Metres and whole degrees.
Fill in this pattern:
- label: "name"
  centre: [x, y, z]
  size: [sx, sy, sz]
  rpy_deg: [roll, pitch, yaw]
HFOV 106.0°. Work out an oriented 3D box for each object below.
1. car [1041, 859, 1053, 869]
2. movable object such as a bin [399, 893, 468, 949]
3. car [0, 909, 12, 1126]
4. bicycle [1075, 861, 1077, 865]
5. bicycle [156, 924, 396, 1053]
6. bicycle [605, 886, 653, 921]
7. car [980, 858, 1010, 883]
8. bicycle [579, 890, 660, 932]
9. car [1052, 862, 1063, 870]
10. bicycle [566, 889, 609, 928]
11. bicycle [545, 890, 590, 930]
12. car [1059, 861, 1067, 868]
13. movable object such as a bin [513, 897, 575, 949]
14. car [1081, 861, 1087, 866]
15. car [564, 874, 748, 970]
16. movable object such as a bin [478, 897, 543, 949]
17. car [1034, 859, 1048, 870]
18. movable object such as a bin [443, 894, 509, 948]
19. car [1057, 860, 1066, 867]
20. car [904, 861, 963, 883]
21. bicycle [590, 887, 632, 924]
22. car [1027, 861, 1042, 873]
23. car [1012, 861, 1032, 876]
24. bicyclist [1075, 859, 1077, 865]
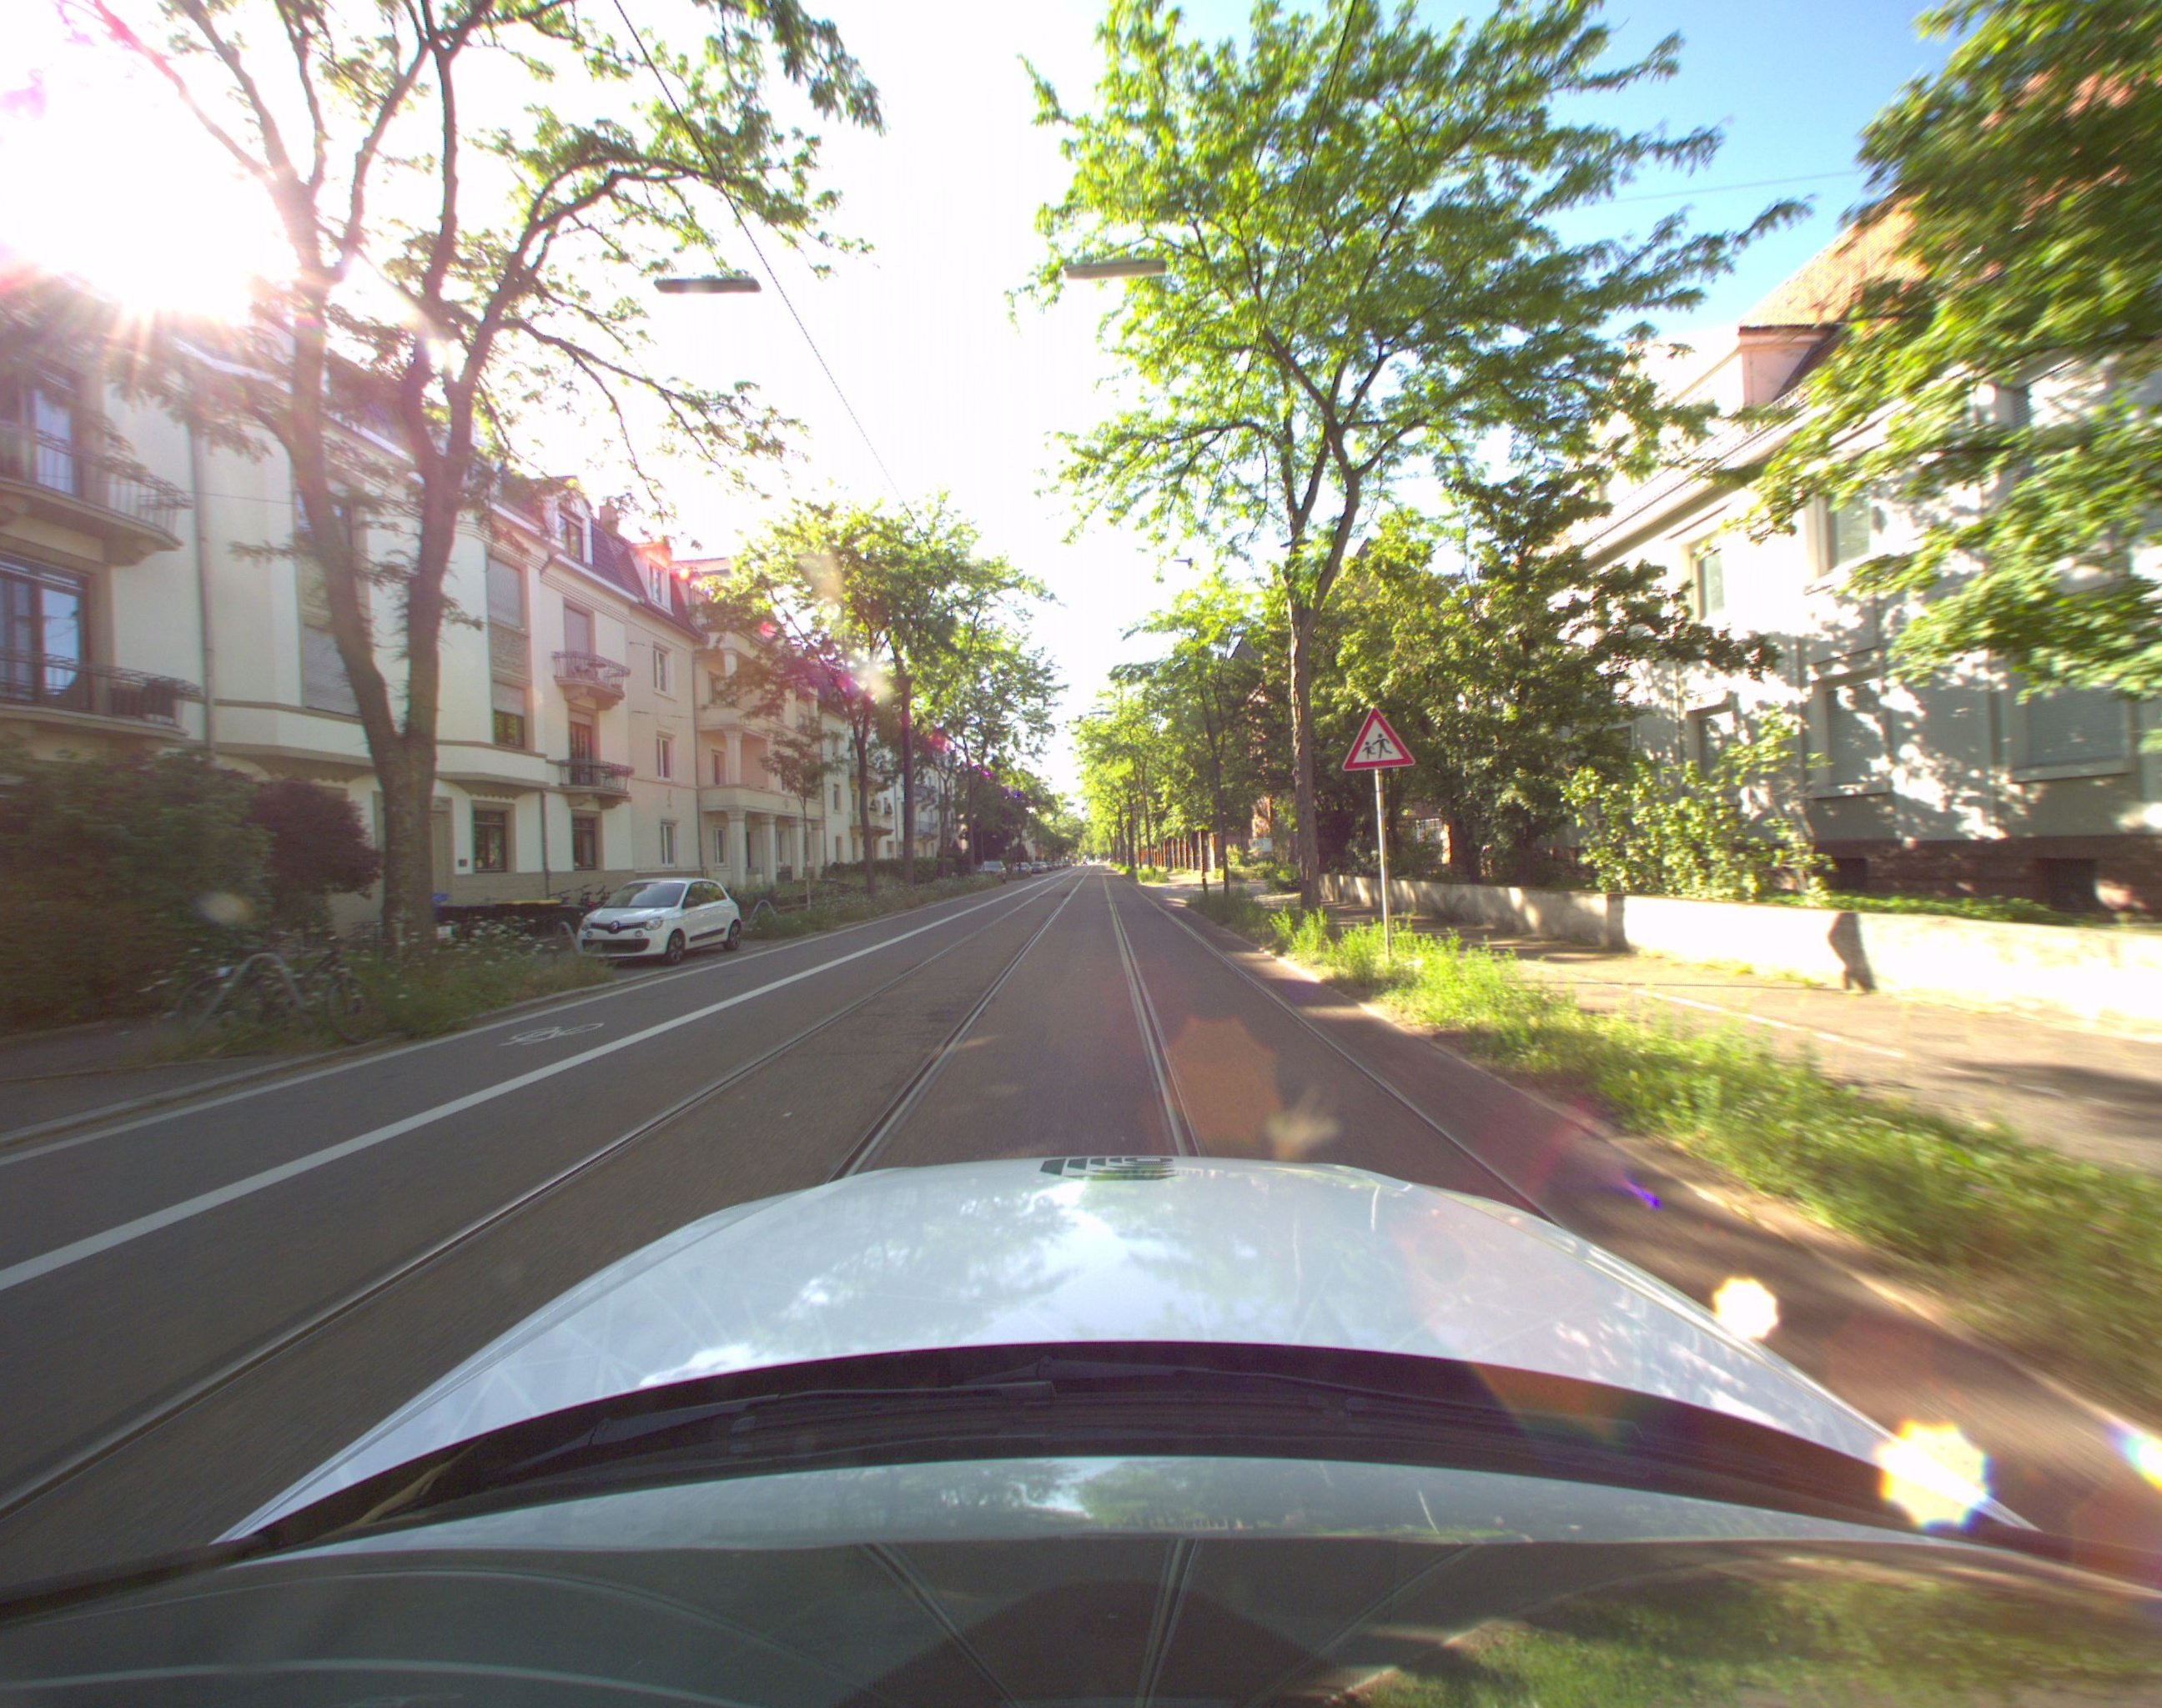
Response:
- label: "car"
  centre: [-5.401, 1.620, 130.324]
  size: [1.752, 1.511, 4.438]
  rpy_deg: [-1, 0, 0]
- label: "movable object such as a bin"
  centre: [-14.247, 1.461, 17.942]
  size: [0.735, 1.113, 0.896]
  rpy_deg: [-3, -1, 1]
- label: "car"
  centre: [-8.099, 1.113, 3.714]
  size: [1.548, 1.454, 3.668]
  rpy_deg: [-2, 0, 1]
- label: "bicycle"
  centre: [-1.394, 2.575, 229.889]
  size: [0.624, 1.177, 1.913]
  rpy_deg: [-5, -1, 1]
- label: "bicycle"
  centre: [-7.865, 1.302, 7.995]
  size: [1.805, 1.121, 0.543]
  rpy_deg: [-2, -1, 1]
- label: "bicycle"
  centre: [-14.212, 1.546, 25.574]
  size: [1.838, 0.996, 0.562]
  rpy_deg: [0, 1, 35]
- label: "car"
  centre: [-6.698, 1.285, 63.598]
  size: [1.865, 1.823, 4.769]
  rpy_deg: [-1, 0, -1]
- label: "bicycle"
  centre: [-12.491, 1.532, 22.111]
  size: [1.867, 0.996, 0.553]
  rpy_deg: [-2, -1, -28]
- label: "car"
  centre: [-4.152, 2.114, 143.516]
  size: [1.811, 1.485, 4.207]
  rpy_deg: [-1, 0, 1]
- label: "bicycle"
  centre: [-14.413, 1.573, 23.777]
  size: [1.839, 0.996, 0.562]
  rpy_deg: [0, 1, 42]
- label: "bicycle"
  centre: [-14.330, 1.549, 22.714]
  size: [1.839, 0.996, 0.562]
  rpy_deg: [0, 1, 42]
- label: "car"
  centre: [-3.905, 2.226, 176.833]
  size: [1.681, 1.485, 3.759]
  rpy_deg: [0, 0, 0]
- label: "movable object such as a bin"
  centre: [-11.810, 1.501, 17.935]
  size: [0.735, 1.041, 0.896]
  rpy_deg: [-3, -1, 1]
- label: "car"
  centre: [0.786, 2.774, 247.976]
  size: [1.752, 1.439, 4.523]
  rpy_deg: [-2, 0, 0]
- label: "car"
  centre: [-8.036, 1.212, 15.804]
  size: [1.620, 1.535, 3.688]
  rpy_deg: [-1, 0, -1]
- label: "movable object such as a bin"
  centre: [-12.562, 1.506, 17.952]
  size: [0.735, 1.054, 0.896]
  rpy_deg: [-3, -1, 1]
- label: "car"
  centre: [-5.952, 1.564, 120.163]
  size: [1.811, 1.511, 4.370]
  rpy_deg: [-1, 0, 0]
- label: "movable object such as a bin"
  centre: [-13.327, 1.468, 17.954]
  size: [0.735, 1.085, 0.896]
  rpy_deg: [-3, -1, 1]
- label: "car"
  centre: [-4.030, 1.949, 169.500]
  size: [1.696, 1.485, 4.079]
  rpy_deg: [0, 0, 1]
- label: "car"
  centre: [-11.807, 1.425, 65.171]
  size: [4.283, 1.661, 1.954]
  rpy_deg: [-1, 0, 2]
- label: "bicycle"
  centre: [-14.228, 1.540, 24.627]
  size: [1.839, 0.996, 0.562]
  rpy_deg: [0, 1, 42]
- label: "car"
  centre: [-6.144, 1.709, 108.316]
  size: [1.700, 1.406, 4.333]
  rpy_deg: [-1, 0, 0]
- label: "car"
  centre: [-6.425, 1.533, 89.442]
  size: [1.770, 1.541, 4.486]
  rpy_deg: [-1, 0, 1]
- label: "bicyclist"
  centre: [-1.425, 2.164, 229.830]
  size: [0.624, 1.639, 0.940]
  rpy_deg: [-5, -1, 1]
